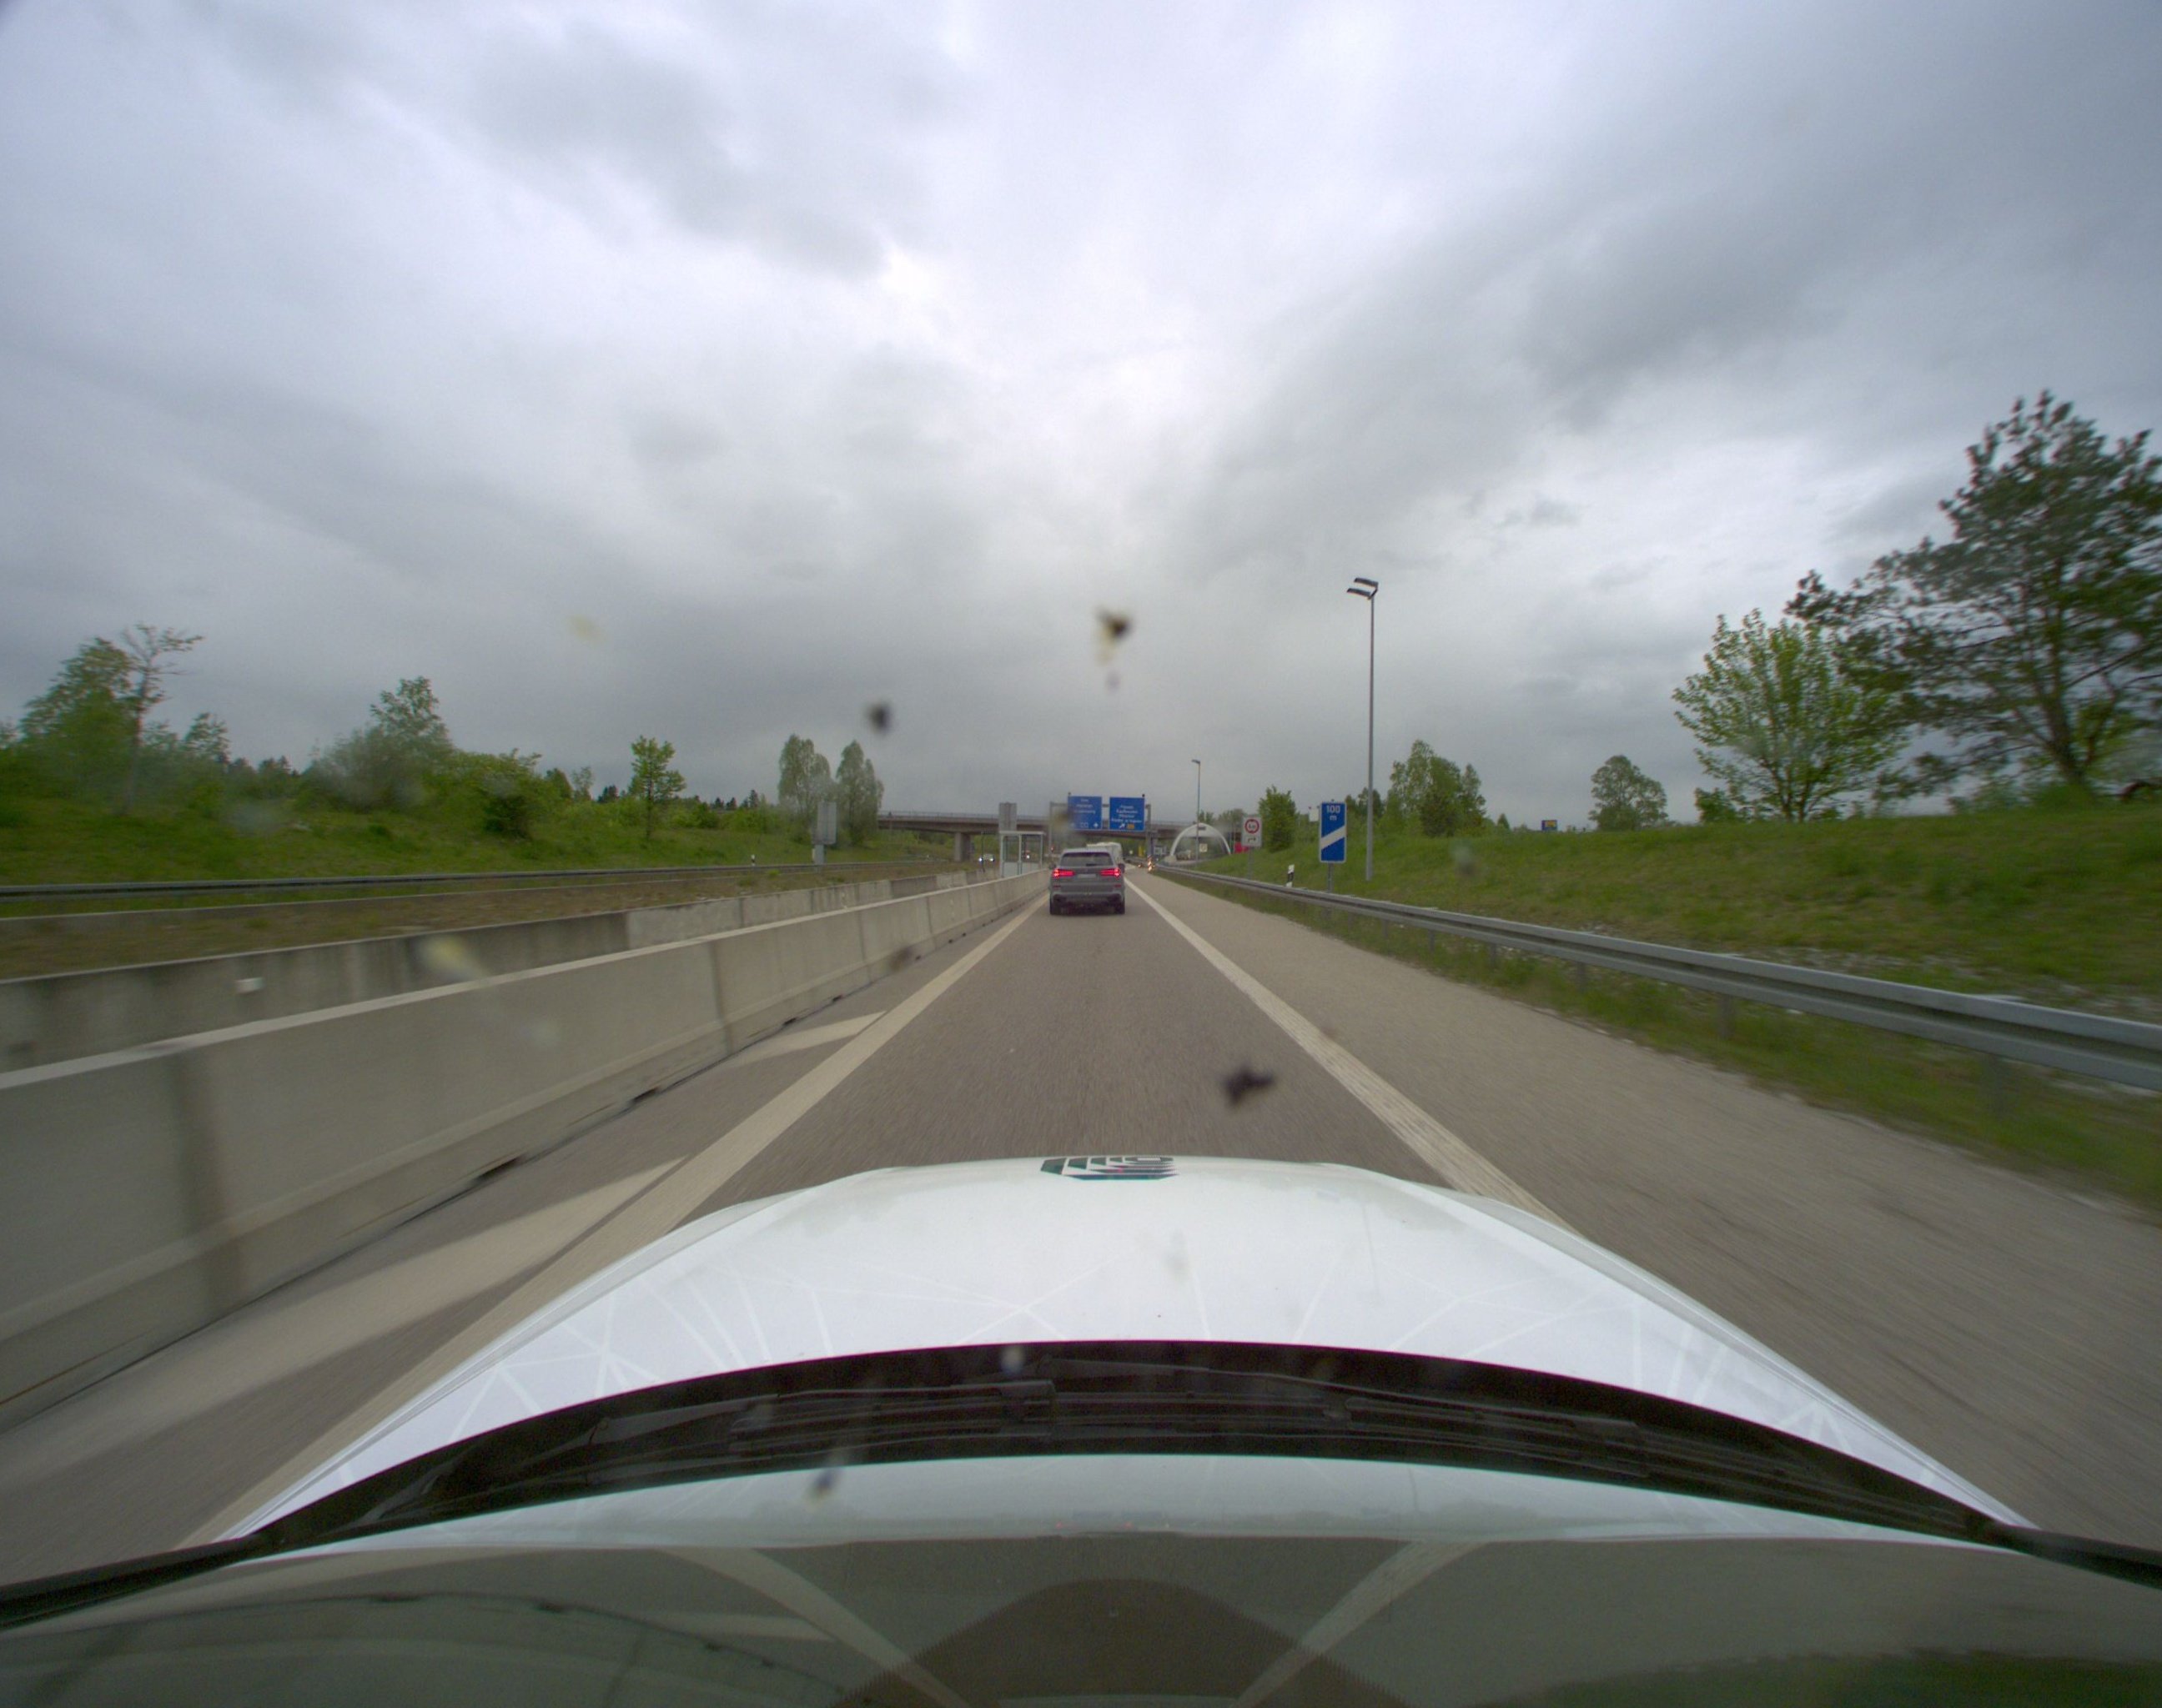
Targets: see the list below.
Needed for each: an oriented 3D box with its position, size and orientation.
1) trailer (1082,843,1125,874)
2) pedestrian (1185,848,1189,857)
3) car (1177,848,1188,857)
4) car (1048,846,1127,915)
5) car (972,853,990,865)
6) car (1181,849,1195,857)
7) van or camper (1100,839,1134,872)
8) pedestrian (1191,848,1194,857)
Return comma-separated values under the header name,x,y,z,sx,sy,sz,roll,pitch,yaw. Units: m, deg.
name,x,y,z,sx,sy,sz,roll,pitch,yaw
trailer,1.923,0.363,66.996,2.264,2.430,6.839,-1,-1,12
pedestrian,20.685,-0.271,159.344,0.716,1.775,0.691,-1,0,5
car,19.624,-0.259,157.079,1.984,1.772,3.771,-1,0,5
car,0.219,0.658,22.470,1.986,1.719,4.001,-1,0,1
car,-12.991,0.613,106.132,1.696,1.575,4.178,0,0,1
car,25.984,-0.236,198.466,1.996,2.013,3.981,-1,0,-14
van or camper,3.285,0.142,73.269,2.142,2.763,5.890,-1,-1,12
pedestrian,21.943,-0.324,160.079,0.645,1.775,0.606,-1,0,3
